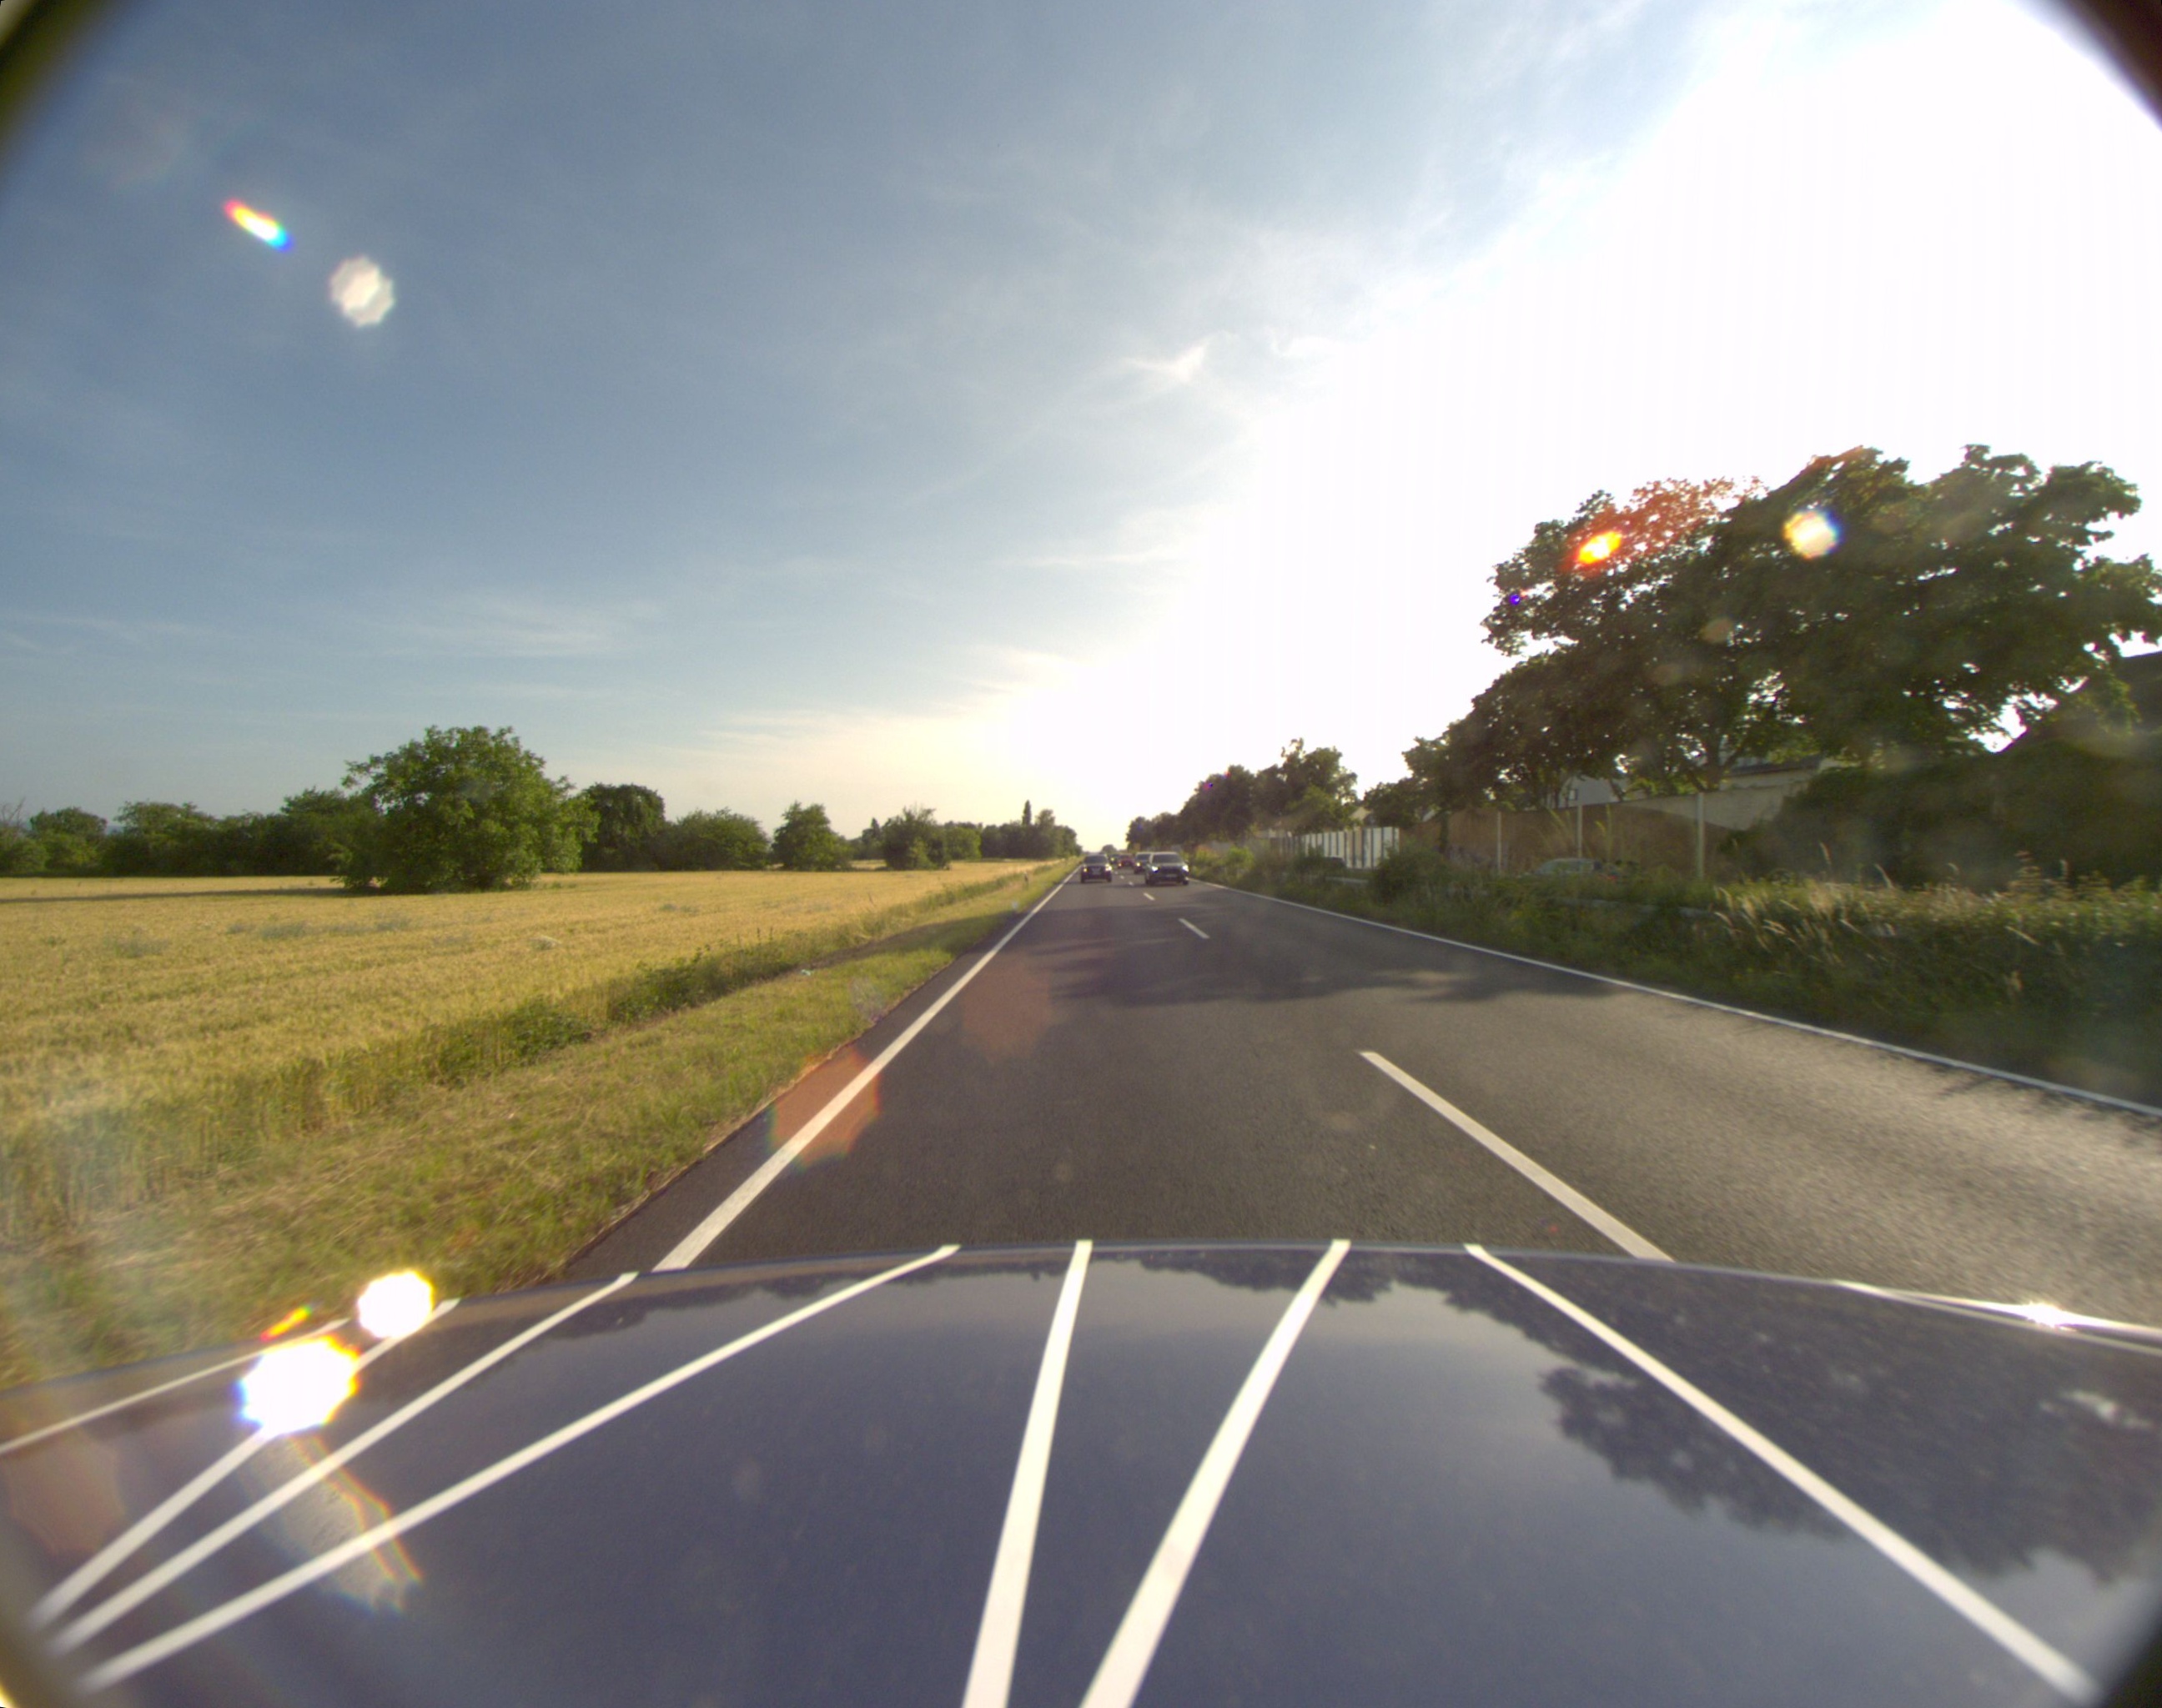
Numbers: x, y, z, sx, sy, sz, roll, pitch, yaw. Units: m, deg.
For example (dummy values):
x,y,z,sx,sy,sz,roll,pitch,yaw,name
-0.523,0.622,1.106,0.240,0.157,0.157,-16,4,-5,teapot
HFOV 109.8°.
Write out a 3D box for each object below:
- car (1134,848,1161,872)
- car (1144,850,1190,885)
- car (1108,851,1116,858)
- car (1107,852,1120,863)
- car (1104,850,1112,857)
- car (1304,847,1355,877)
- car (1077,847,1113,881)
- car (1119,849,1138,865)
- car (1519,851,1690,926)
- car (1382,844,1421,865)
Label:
x,y,z,sx,sy,sz,roll,pitch,yaw,name
5.099,0.458,58.810,1.822,1.724,4.000,-2,1,2,car
4.182,0.610,37.508,1.821,1.516,4.246,-2,1,2,car
7.168,0.065,174.210,1.693,1.397,4.000,-2,1,1,car
4.664,0.532,108.523,1.700,1.456,3.646,-2,1,1,car
6.820,-0.186,194.425,1.854,1.641,3.999,-2,1,1,car
15.740,0.481,48.280,1.942,1.718,3.999,-2,1,1,car
0.769,0.508,42.047,1.822,1.661,4.000,-2,1,1,car
5.131,0.302,81.965,1.822,1.661,4.000,-2,1,2,car
14.694,0.875,21.678,1.839,1.844,4.365,-2,1,0,car
31.494,-0.001,74.827,1.790,1.908,4.914,-2,1,1,car
